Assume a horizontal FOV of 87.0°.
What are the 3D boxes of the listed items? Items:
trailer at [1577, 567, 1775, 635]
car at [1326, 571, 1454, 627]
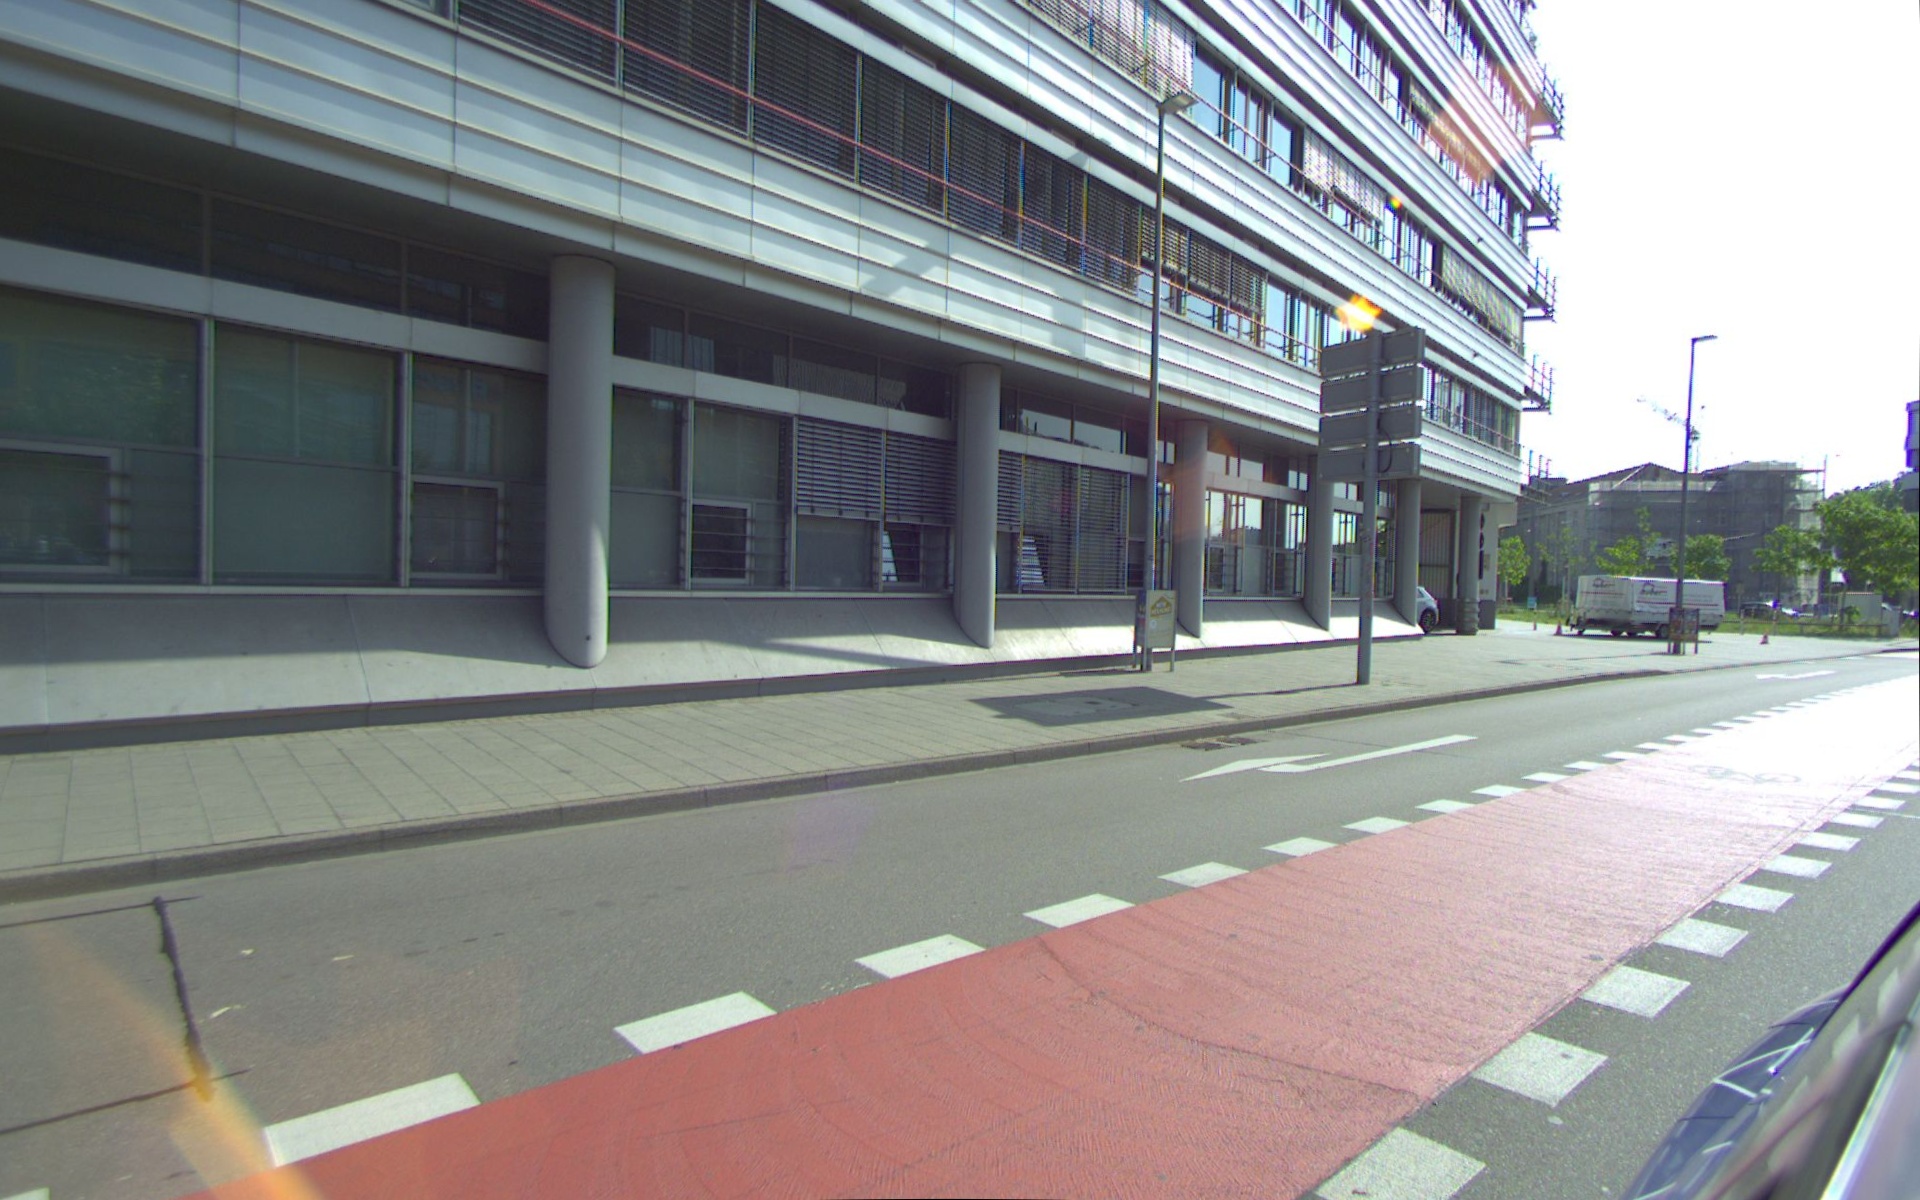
[{"bbox_3d":[25.219,0.023,35.722,5.824,2.178,2.402,1,1,-14],"label":"trailer"},{"bbox_3d":[13.777,-0.020,32.379,3.920,1.609,1.752,2,1,-31],"label":"car"}]
